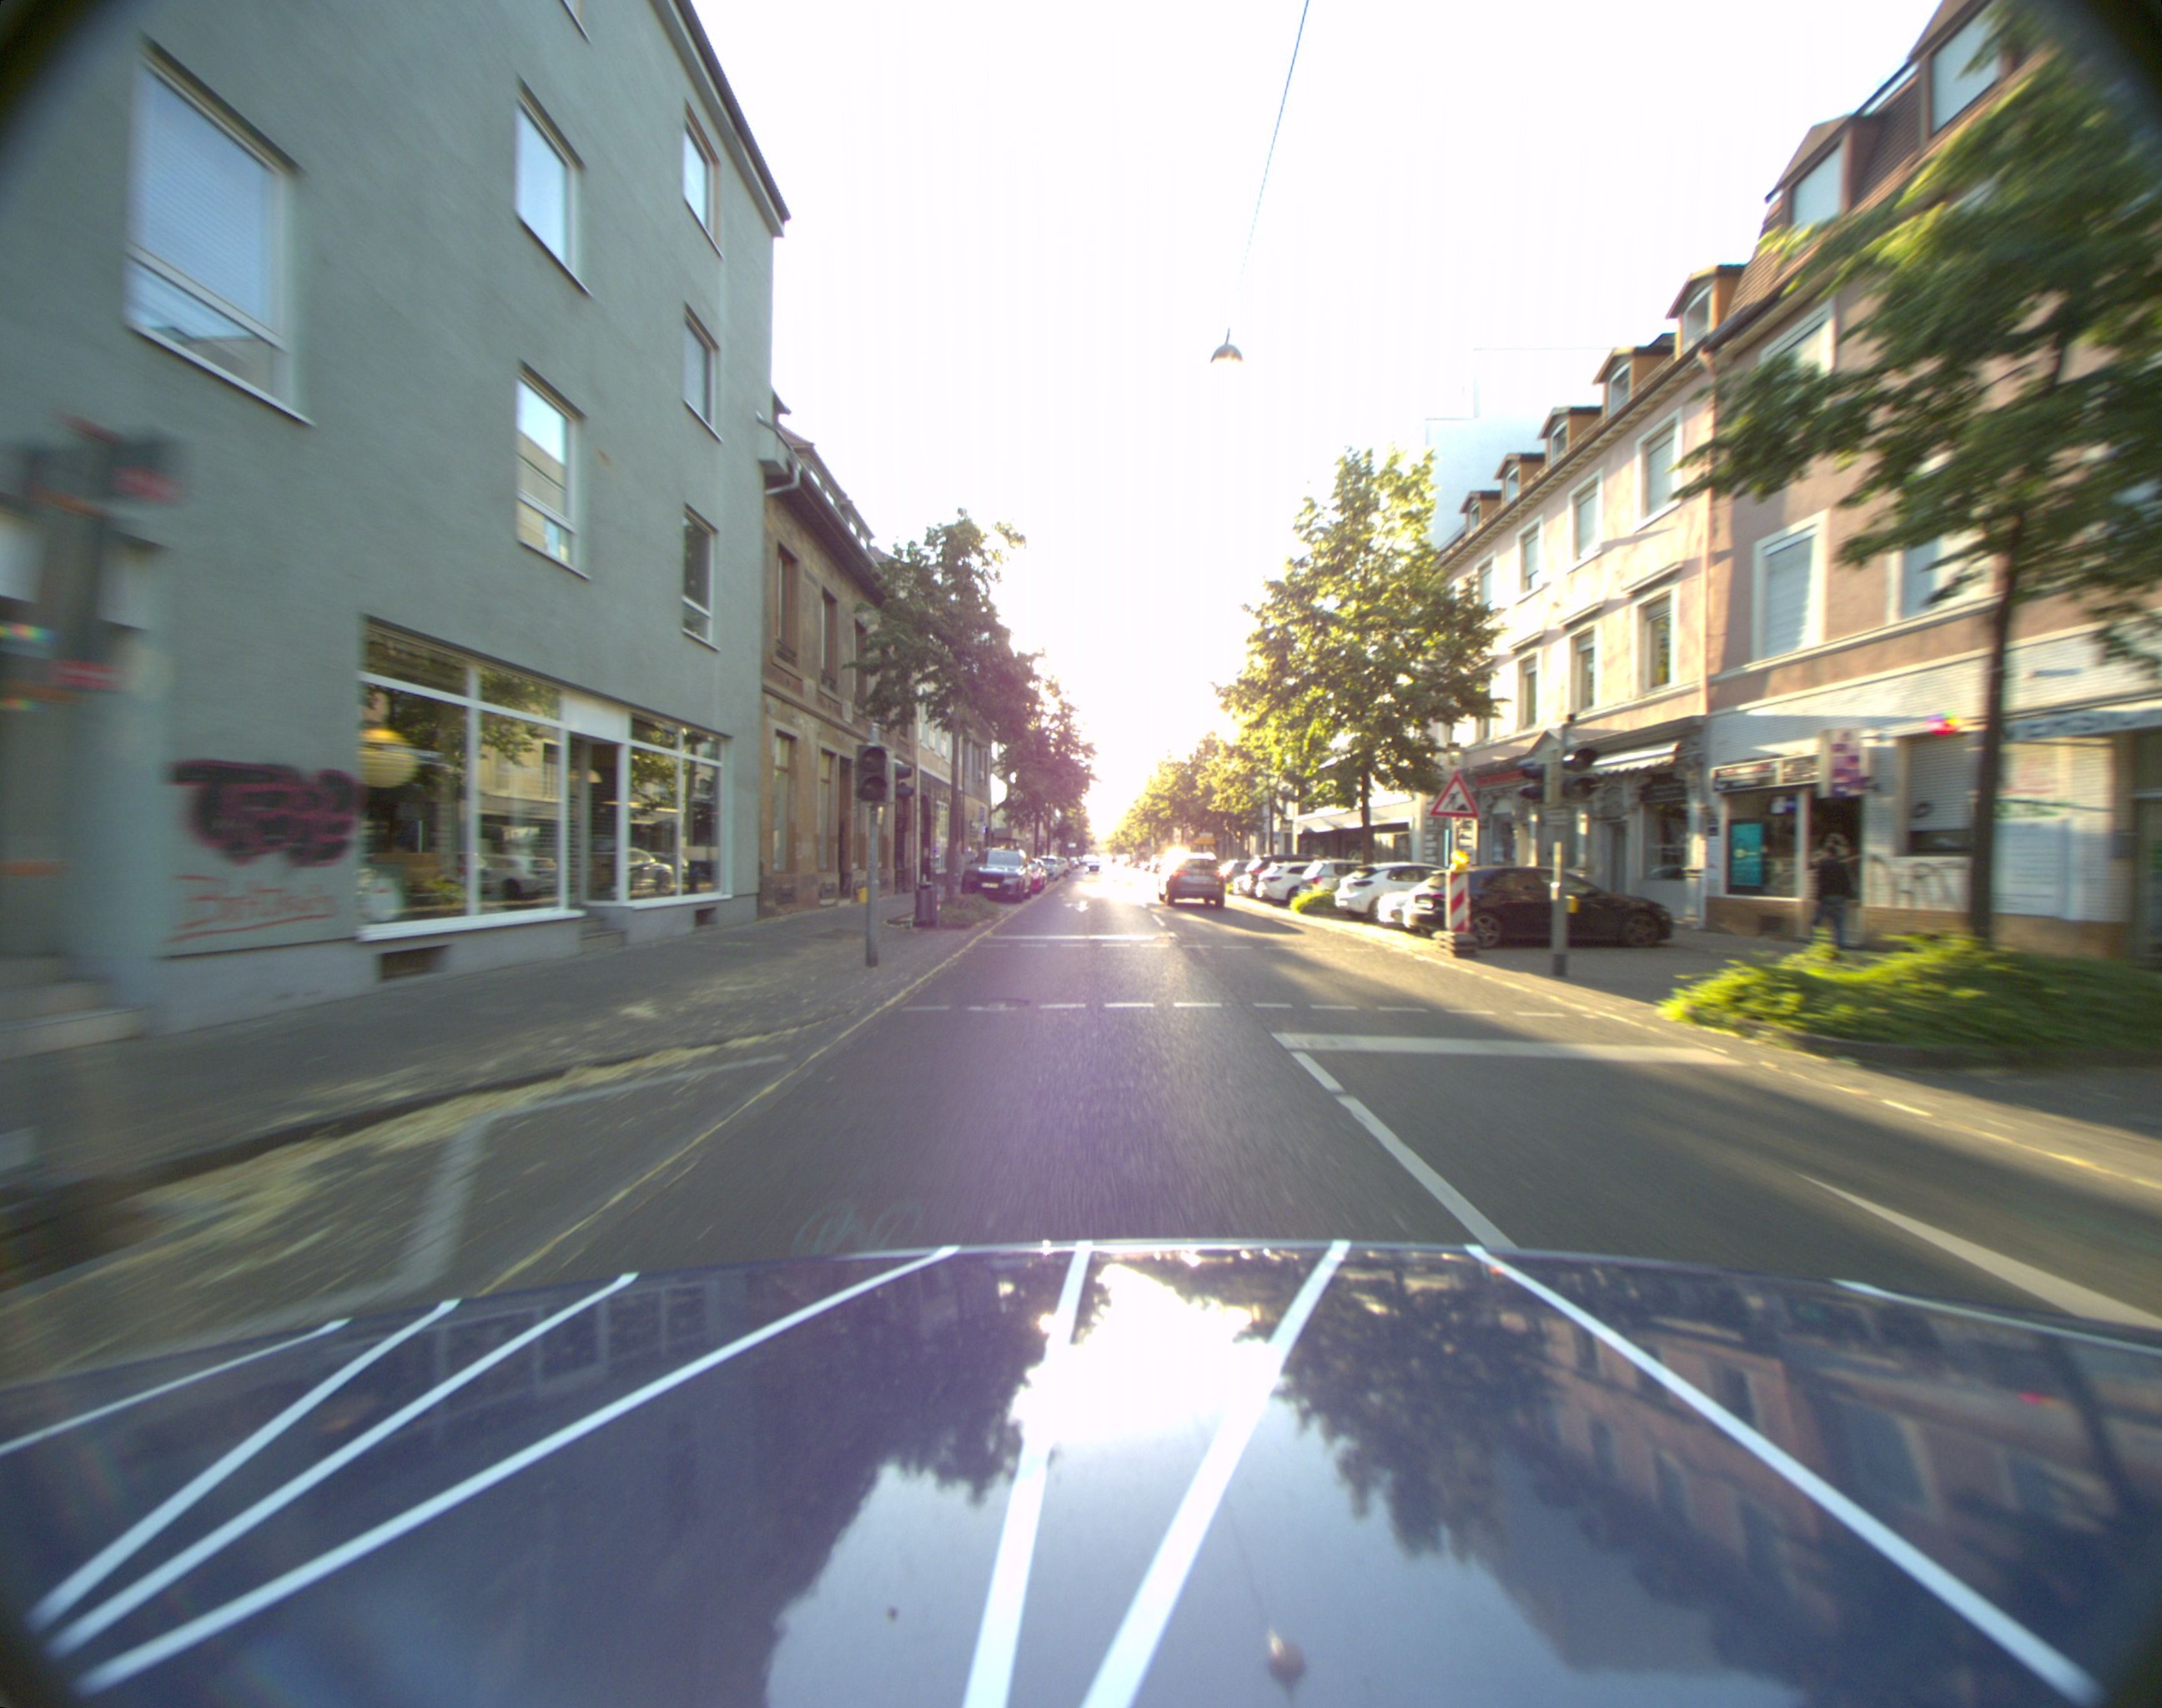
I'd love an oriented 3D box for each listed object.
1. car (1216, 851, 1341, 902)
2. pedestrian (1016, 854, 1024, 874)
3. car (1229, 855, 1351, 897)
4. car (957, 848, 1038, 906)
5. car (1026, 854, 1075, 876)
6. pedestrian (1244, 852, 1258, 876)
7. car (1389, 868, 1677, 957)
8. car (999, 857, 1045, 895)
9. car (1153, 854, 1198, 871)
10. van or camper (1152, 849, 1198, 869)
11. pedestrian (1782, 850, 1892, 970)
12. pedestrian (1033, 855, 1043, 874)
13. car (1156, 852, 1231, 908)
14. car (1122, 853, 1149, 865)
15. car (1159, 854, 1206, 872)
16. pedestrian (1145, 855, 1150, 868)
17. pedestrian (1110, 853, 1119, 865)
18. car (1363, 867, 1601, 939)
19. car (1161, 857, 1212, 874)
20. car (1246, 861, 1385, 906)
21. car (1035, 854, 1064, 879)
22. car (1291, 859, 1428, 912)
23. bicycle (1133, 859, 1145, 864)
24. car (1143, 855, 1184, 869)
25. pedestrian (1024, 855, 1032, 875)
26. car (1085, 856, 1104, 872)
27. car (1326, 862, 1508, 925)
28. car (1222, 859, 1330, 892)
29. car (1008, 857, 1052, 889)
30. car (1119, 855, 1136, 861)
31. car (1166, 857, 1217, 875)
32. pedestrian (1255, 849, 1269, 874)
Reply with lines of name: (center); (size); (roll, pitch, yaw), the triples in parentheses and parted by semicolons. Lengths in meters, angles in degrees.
car: (7.308, 0.815, 28.450); (4.160, 1.762, 1.889); (-1, 0, -1)
pedestrian: (-5.108, 0.831, 63.274); (0.607, 1.728, 0.668); (0, 0, 1)
car: (8.413, 0.866, 30.819); (4.417, 1.586, 1.890); (-1, 0, 0)
car: (-2.737, 0.717, 26.082); (2.043, 1.727, 4.712); (2, 0, 2)
car: (-2.354, 0.843, 58.680); (1.661, 1.574, 3.632); (1, -1, 42)
pedestrian: (11.873, 0.705, 53.019); (0.721, 1.593, 1.094); (-2, 0, 1)
car: (8.024, 0.999, 13.767); (4.117, 1.395, 1.884); (-1, 0, -1)
car: (-2.503, 0.889, 33.035); (1.734, 1.479, 3.900); (2, 0, -2)
car: (9.155, 0.826, 73.924); (4.192, 1.659, 1.732); (0, 1, 3)
van or camper: (9.511, 0.524, 76.845); (4.469, 1.945, 1.789); (0, 0, 2)
pedestrian: (11.355, 0.814, 11.447); (0.774, 1.712, 0.875); (-1, 2, 1)
pedestrian: (-3.608, 0.873, 63.303); (0.748, 1.622, 0.856); (0, 0, 1)
car: (3.619, 0.784, 25.181); (1.866, 1.682, 4.460); (1, 0, 1)
car: (9.216, 0.825, 128.487); (4.439, 1.832, 1.814); (-1, 0, 0)
car: (9.186, 0.800, 68.766); (4.191, 1.528, 1.745); (-1, 1, 7)
pedestrian: (8.286, 0.949, 94.379); (0.550, 1.638, 0.721); (0, 0, 4)
pedestrian: (4.807, 0.697, 108.514); (0.898, 1.671, 0.795); (0, 1, -36)
car: (8.425, 1.001, 16.274); (4.107, 1.395, 1.843); (0, 0, 3)
car: (8.933, 0.991, 64.604); (4.052, 1.378, 1.744); (-1, 0, -2)
car: (7.862, 0.969, 25.699); (4.160, 1.413, 1.766); (-1, 0, -1)
car: (-2.054, 0.834, 50.251); (1.695, 1.534, 3.553); (2, 0, 1)
car: (8.501, 0.933, 23.375); (3.565, 1.493, 1.716); (-1, 0, 0)
bicycle: (8.550, 1.146, 112.326); (1.796, 0.761, 0.408); (0, 0, 13)
car: (9.449, 0.908, 87.296); (4.439, 1.516, 1.814); (-1, 0, 0)
pedestrian: (-4.394, 0.899, 63.519); (0.607, 1.622, 0.668); (0, 0, 1)
car: (1.371, 0.981, 75.710); (1.825, 1.469, 4.155); (0, 0, 2)
car: (8.294, 0.947, 19.002); (3.748, 1.435, 1.805); (-1, 0, -2)
car: (8.941, 0.970, 35.133); (4.559, 1.475, 1.744); (0, 0, 1)
car: (-2.492, 0.906, 37.829); (1.957, 1.382, 4.424); (2, 0, -2)
car: (11.459, 0.980, 187.368); (4.151, 1.469, 1.827); (0, 0, 2)
car: (9.036, 0.984, 62.310); (3.876, 1.448, 1.744); (0, 0, -1)
pedestrian: (12.610, 0.513, 52.918); (0.721, 1.739, 0.934); (-2, 0, 1)
